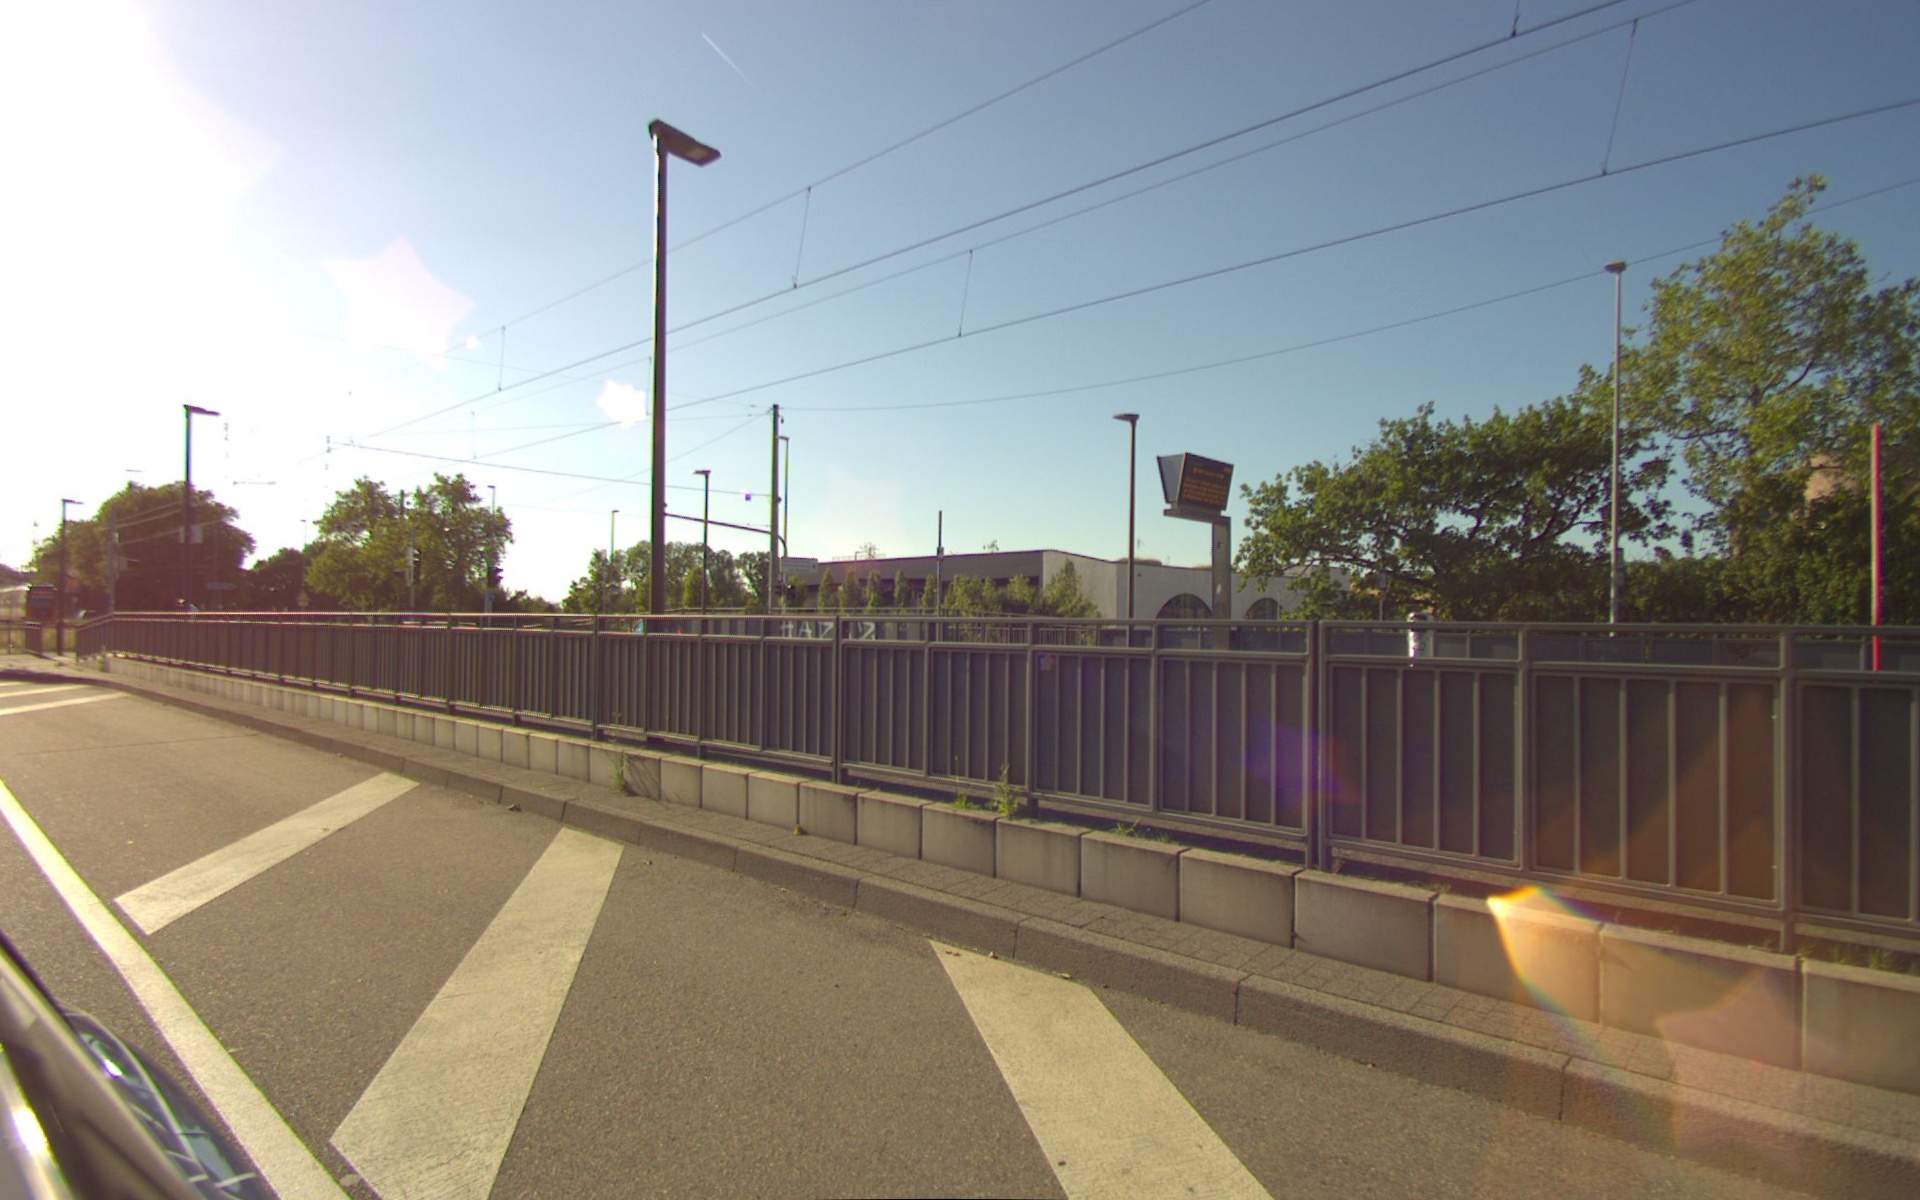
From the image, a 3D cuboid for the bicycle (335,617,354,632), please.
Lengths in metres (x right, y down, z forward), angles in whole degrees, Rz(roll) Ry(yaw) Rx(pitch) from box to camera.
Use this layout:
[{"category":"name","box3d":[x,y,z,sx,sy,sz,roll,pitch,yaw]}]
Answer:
[{"category":"bicycle","box3d":[-50.150,1.990,82.504,2.528,1.136,0.624,-1,-2,42]}]

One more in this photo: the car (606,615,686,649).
[{"category":"car","box3d":[-14.422,1.442,46.352,3.999,1.457,1.714,-1,-2,42]}]

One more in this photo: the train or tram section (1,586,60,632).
[{"category":"train or tram section","box3d":[-86.051,0.850,93.575,12.110,3.977,2.853,-1,-1,42]}]

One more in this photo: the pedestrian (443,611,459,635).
[{"category":"pedestrian","box3d":[-35.160,1.579,69.886,0.879,1.621,0.713,-1,-2,42]}]

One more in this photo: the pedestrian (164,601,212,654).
[{"category":"pedestrian","box3d":[-24.526,0.860,32.160,0.983,1.657,0.882,0,-2,32]}]

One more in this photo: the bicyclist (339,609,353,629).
[{"category":"bicyclist","box3d":[-50.141,1.584,82.607,0.835,1.629,0.760,-1,-2,42]}]
